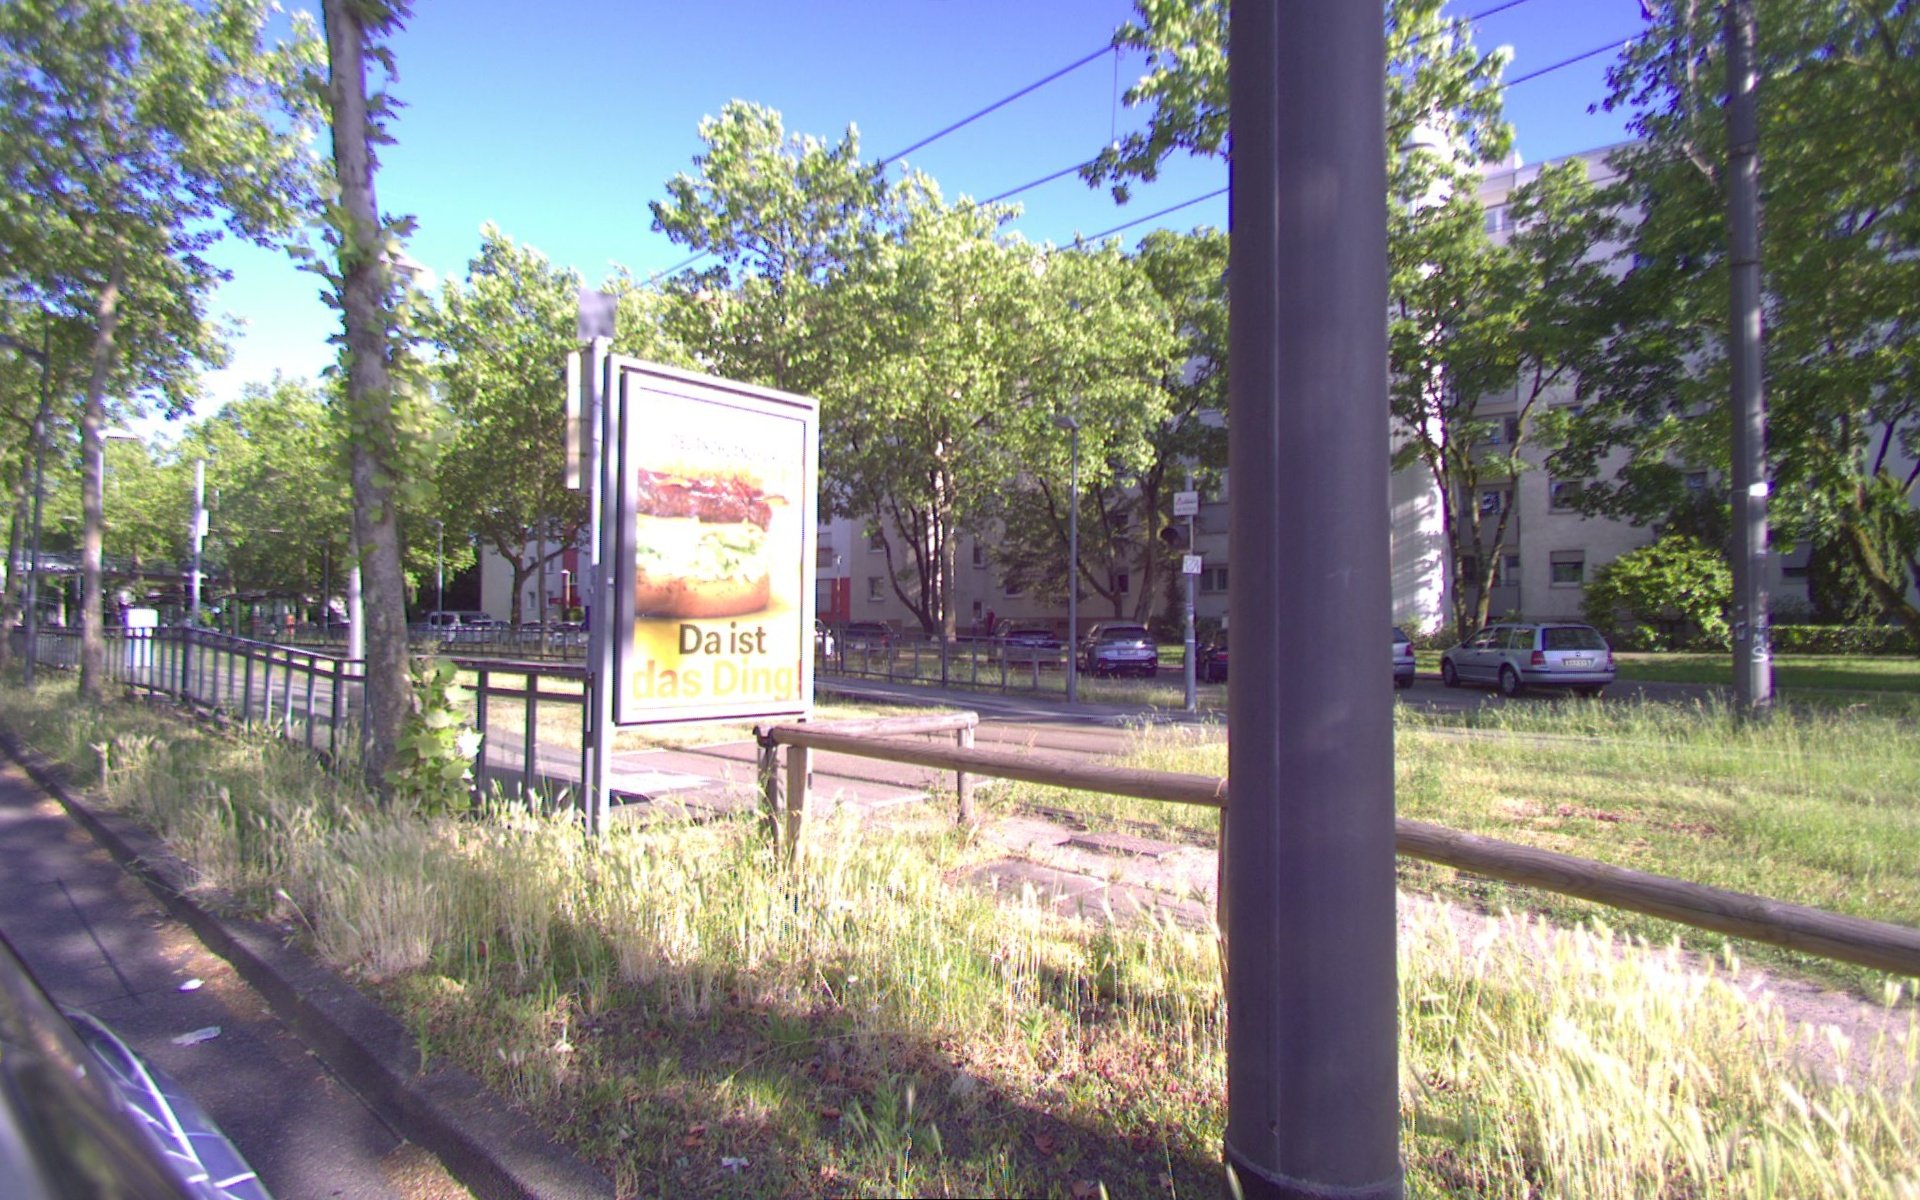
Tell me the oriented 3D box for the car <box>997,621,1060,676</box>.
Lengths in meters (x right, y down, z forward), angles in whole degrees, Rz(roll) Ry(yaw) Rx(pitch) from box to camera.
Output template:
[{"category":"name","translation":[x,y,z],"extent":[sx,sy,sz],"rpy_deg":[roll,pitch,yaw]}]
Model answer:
[{"category":"car","translation":[1.932,1.366,29.450],"extent":[1.664,1.482,3.680],"rpy_deg":[0,-1,1]}]

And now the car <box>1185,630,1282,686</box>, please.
[{"category":"car","translation":[6.728,1.399,25.211],"extent":[1.602,1.256,3.677],"rpy_deg":[0,-1,4]}]

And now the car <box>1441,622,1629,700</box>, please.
[{"category":"car","translation":[11.547,1.175,20.633],"extent":[1.707,1.444,3.681],"rpy_deg":[0,-1,1]}]

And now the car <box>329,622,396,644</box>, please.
[{"category":"car","translation":[-40.287,2.202,68.392],"extent":[1.898,1.386,4.365],"rpy_deg":[0,-1,1]}]

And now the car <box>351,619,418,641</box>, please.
[{"category":"car","translation":[-37.810,1.946,66.608],"extent":[1.898,1.386,4.365],"rpy_deg":[0,-1,1]}]

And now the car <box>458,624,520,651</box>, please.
[{"category":"car","translation":[-25.801,2.033,55.521],"extent":[1.627,1.407,3.680],"rpy_deg":[0,-1,1]}]

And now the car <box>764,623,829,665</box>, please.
[{"category":"car","translation":[-5.911,1.570,36.921],"extent":[1.664,1.444,3.679],"rpy_deg":[0,-1,2]}]

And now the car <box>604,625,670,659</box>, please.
[{"category":"car","translation":[-14.085,1.818,44.283],"extent":[1.627,1.403,3.679],"rpy_deg":[0,-1,2]}]

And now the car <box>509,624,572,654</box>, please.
[{"category":"car","translation":[-21.126,1.957,51.136],"extent":[1.627,1.460,3.680],"rpy_deg":[0,-1,1]}]

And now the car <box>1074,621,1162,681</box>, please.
[{"category":"car","translation":[4.205,1.344,27.497],"extent":[1.894,1.507,3.680],"rpy_deg":[0,-1,2]}]

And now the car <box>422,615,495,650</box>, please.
[{"category":"car","translation":[-28.330,1.824,57.329],"extent":[1.898,1.898,4.365],"rpy_deg":[0,-1,1]}]

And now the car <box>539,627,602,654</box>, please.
[{"category":"car","translation":[-19.049,1.979,49.669],"extent":[1.627,1.251,3.680],"rpy_deg":[0,-1,1]}]

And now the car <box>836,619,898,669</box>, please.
[{"category":"car","translation":[-3.109,1.457,34.472],"extent":[1.664,1.579,3.679],"rpy_deg":[0,-1,2]}]

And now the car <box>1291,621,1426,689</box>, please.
[{"category":"car","translation":[9.152,1.218,23.532],"extent":[1.679,1.444,3.681],"rpy_deg":[0,-1,1]}]

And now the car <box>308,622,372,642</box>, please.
[{"category":"car","translation":[-44.649,2.280,72.985],"extent":[1.898,1.386,4.365],"rpy_deg":[0,-1,1]}]

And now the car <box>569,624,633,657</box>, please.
[{"category":"car","translation":[-16.685,1.841,47.139],"extent":[1.627,1.460,3.680],"rpy_deg":[0,-1,1]}]

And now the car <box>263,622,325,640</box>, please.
[{"category":"car","translation":[-52.151,2.402,79.364],"extent":[1.898,1.386,4.365],"rpy_deg":[0,-1,1]}]
